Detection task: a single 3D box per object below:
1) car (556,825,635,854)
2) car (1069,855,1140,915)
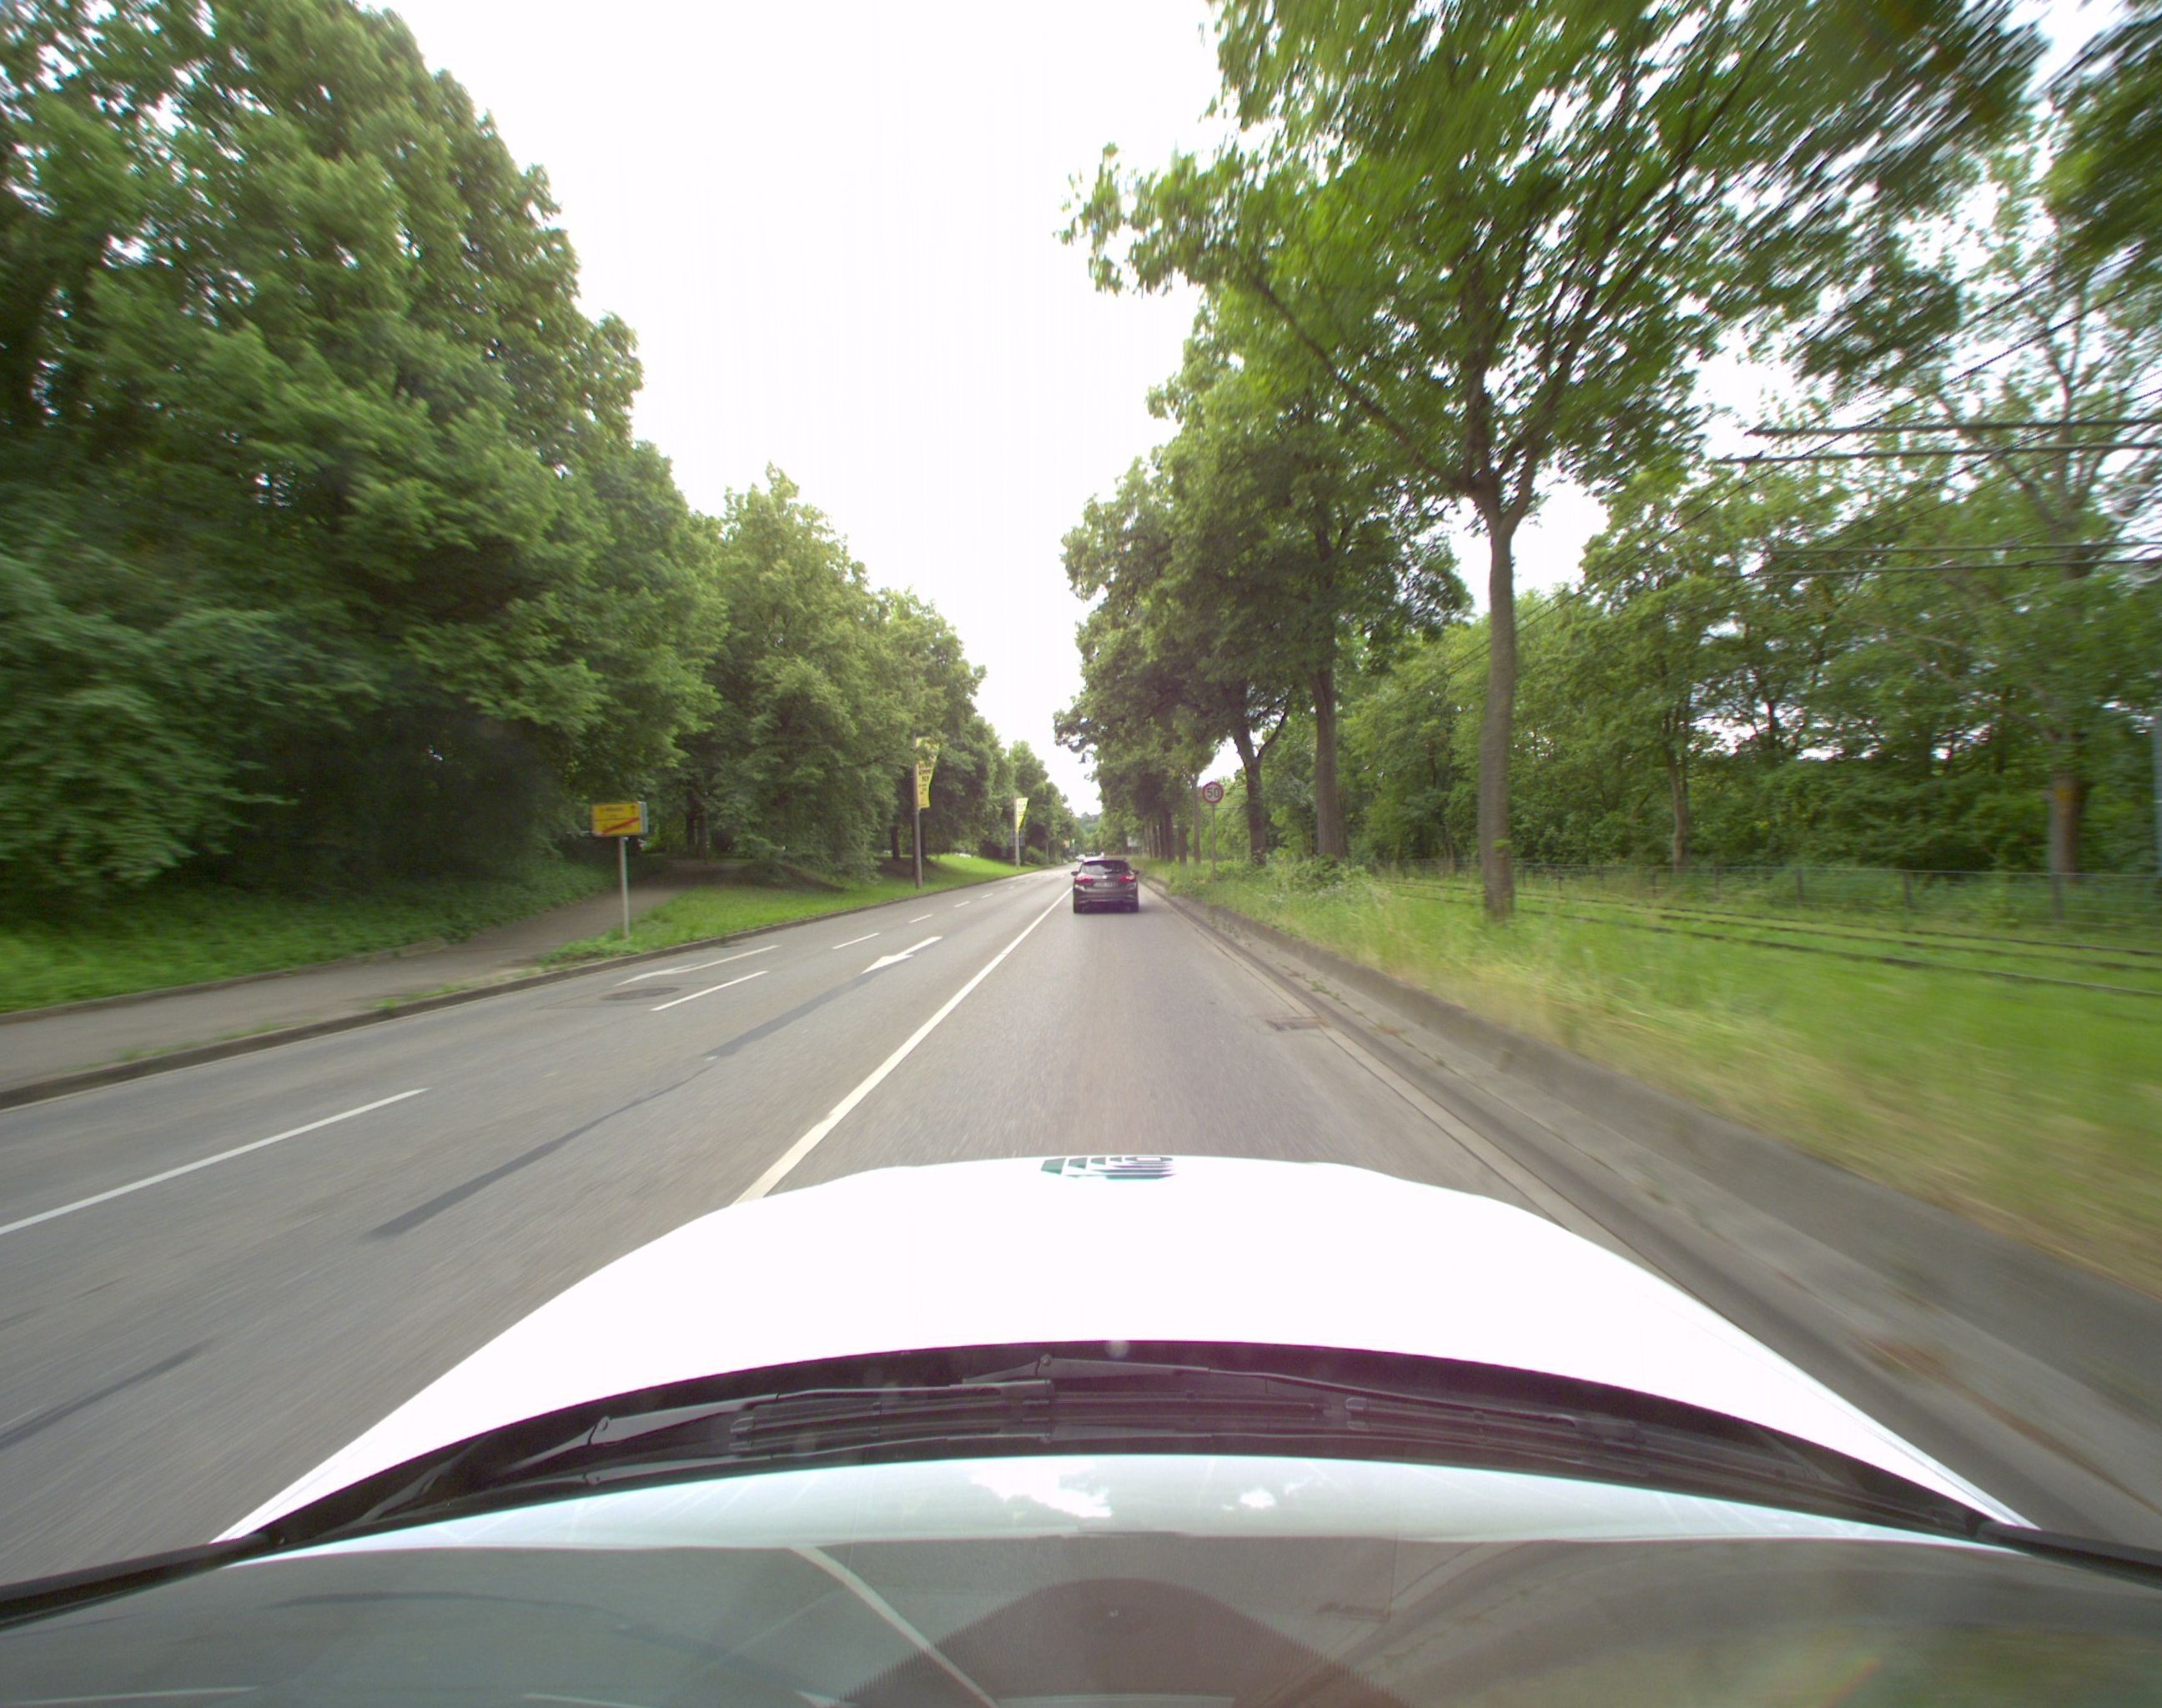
[{"bbox_3d":[-36.133,-1.071,60.703,4.869,2.031,1.545,-1,0,-39],"label":"car"},{"bbox_3d":[0.729,0.829,23.216,1.829,1.528,3.932,-1,0,3],"label":"car"}]
